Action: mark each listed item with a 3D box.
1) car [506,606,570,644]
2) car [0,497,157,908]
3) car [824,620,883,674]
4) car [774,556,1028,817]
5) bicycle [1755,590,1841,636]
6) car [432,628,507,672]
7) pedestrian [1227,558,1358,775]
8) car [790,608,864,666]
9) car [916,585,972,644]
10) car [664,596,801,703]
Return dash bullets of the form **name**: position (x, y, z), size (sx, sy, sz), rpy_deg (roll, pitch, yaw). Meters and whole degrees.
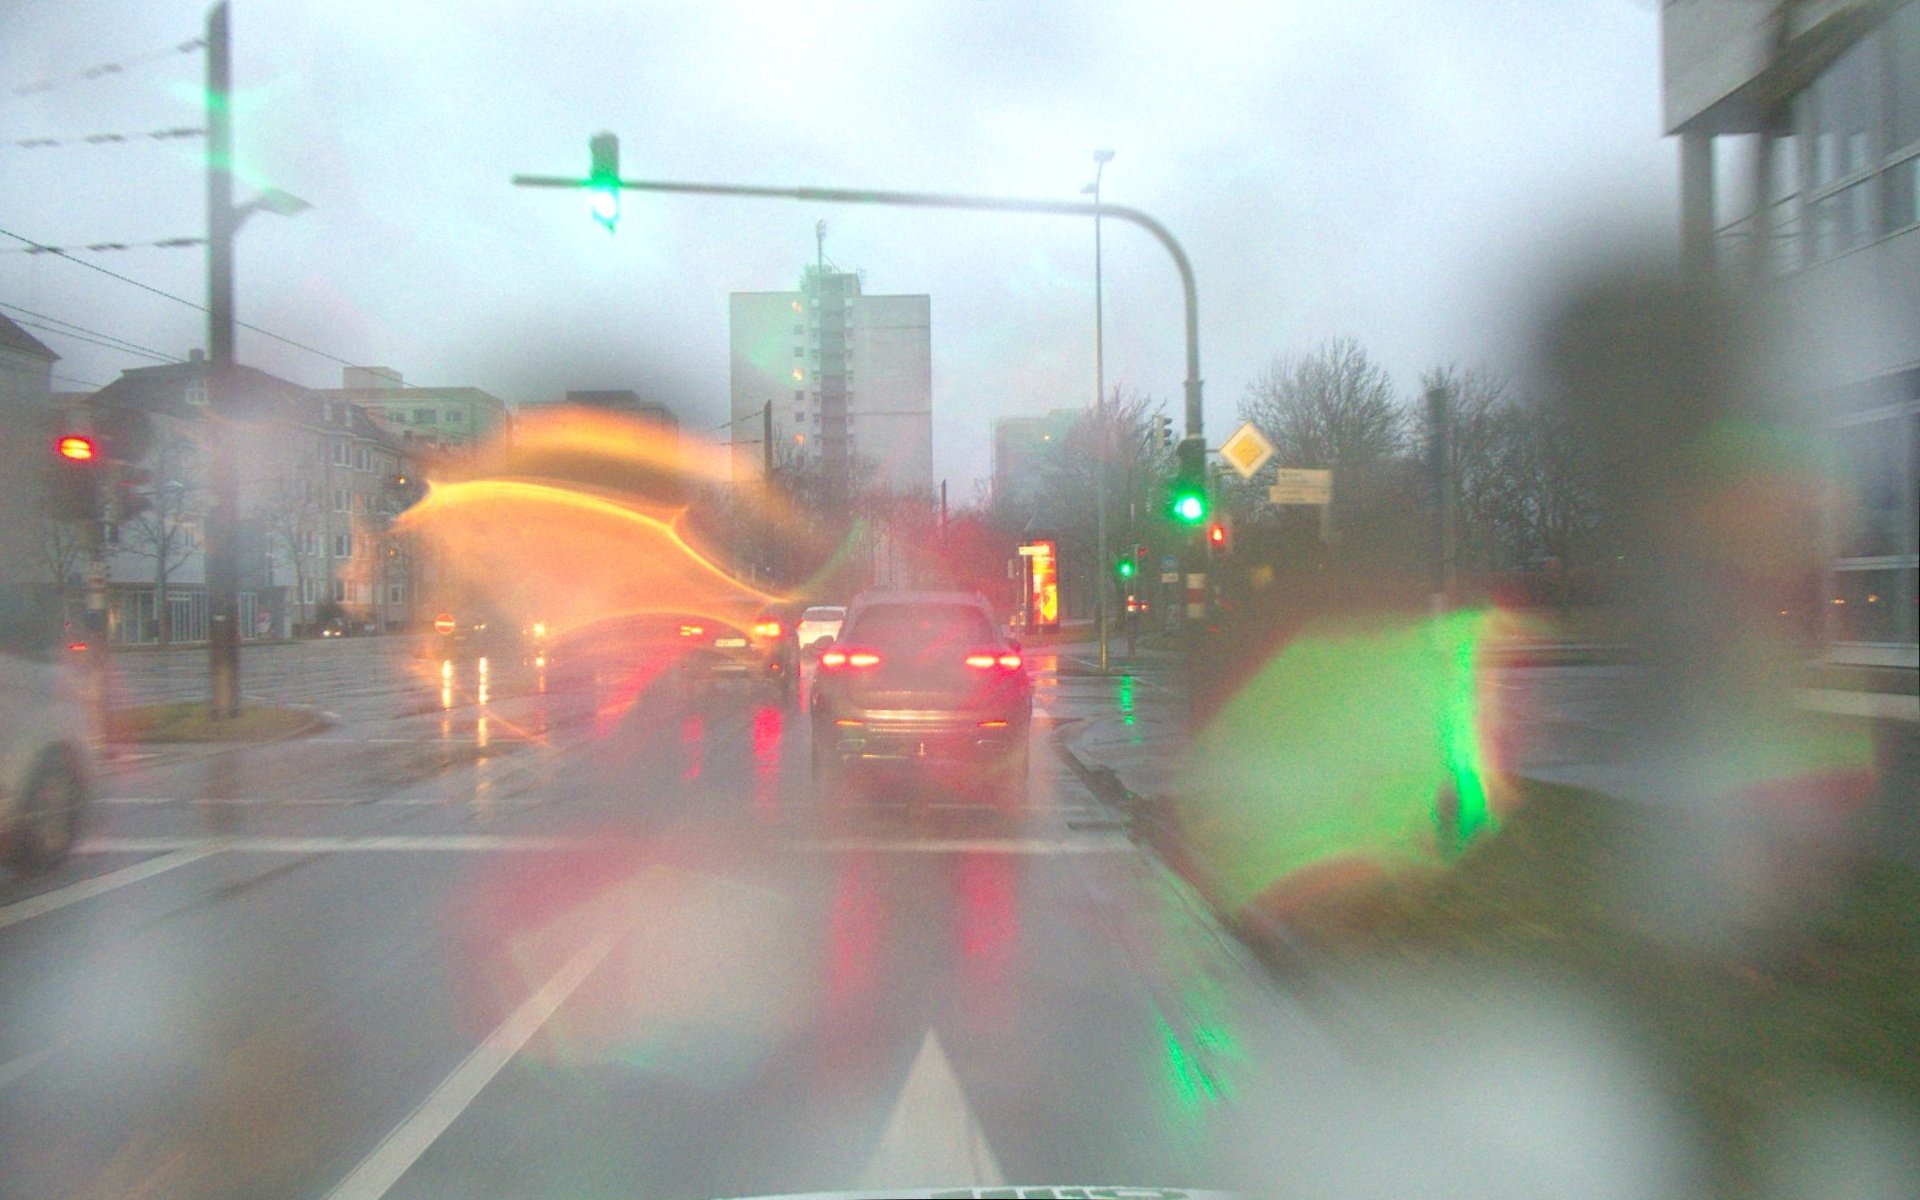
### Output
- **car**: position (-17.588, 1.063, 69.070), size (1.555, 1.556, 4.932), rpy_deg (0, -1, -2)
- **car**: position (-5.786, 0.517, 7.545), size (1.912, 2.069, 4.882), rpy_deg (0, 0, -1)
- **car**: position (-4.110, 1.824, 64.416), size (1.952, 2.049, 4.000), rpy_deg (0, -1, 1)
- **car**: position (-0.531, 0.714, 14.826), size (1.953, 2.010, 4.066), rpy_deg (0, -1, -2)
- **bicycle**: position (23.990, 0.374, 47.370), size (1.925, 1.237, 1.039), rpy_deg (-2, 1, -5)
- **car**: position (-18.524, 1.875, 62.625), size (1.768, 1.635, 3.997), rpy_deg (0, -1, -3)
- **pedestrian**: position (2.900, 0.564, 14.372), size (0.780, 1.780, 0.861), rpy_deg (-5, 0, 26)
- **car**: position (-3.925, 1.105, 49.400), size (1.953, 1.671, 4.021), rpy_deg (0, -1, -1)
- **car**: position (-0.520, 0.524, 56.150), size (1.818, 1.925, 4.000), rpy_deg (0, -1, 0)
- **car**: position (-3.910, 0.854, 29.129), size (1.953, 1.742, 4.322), rpy_deg (0, -1, -2)
